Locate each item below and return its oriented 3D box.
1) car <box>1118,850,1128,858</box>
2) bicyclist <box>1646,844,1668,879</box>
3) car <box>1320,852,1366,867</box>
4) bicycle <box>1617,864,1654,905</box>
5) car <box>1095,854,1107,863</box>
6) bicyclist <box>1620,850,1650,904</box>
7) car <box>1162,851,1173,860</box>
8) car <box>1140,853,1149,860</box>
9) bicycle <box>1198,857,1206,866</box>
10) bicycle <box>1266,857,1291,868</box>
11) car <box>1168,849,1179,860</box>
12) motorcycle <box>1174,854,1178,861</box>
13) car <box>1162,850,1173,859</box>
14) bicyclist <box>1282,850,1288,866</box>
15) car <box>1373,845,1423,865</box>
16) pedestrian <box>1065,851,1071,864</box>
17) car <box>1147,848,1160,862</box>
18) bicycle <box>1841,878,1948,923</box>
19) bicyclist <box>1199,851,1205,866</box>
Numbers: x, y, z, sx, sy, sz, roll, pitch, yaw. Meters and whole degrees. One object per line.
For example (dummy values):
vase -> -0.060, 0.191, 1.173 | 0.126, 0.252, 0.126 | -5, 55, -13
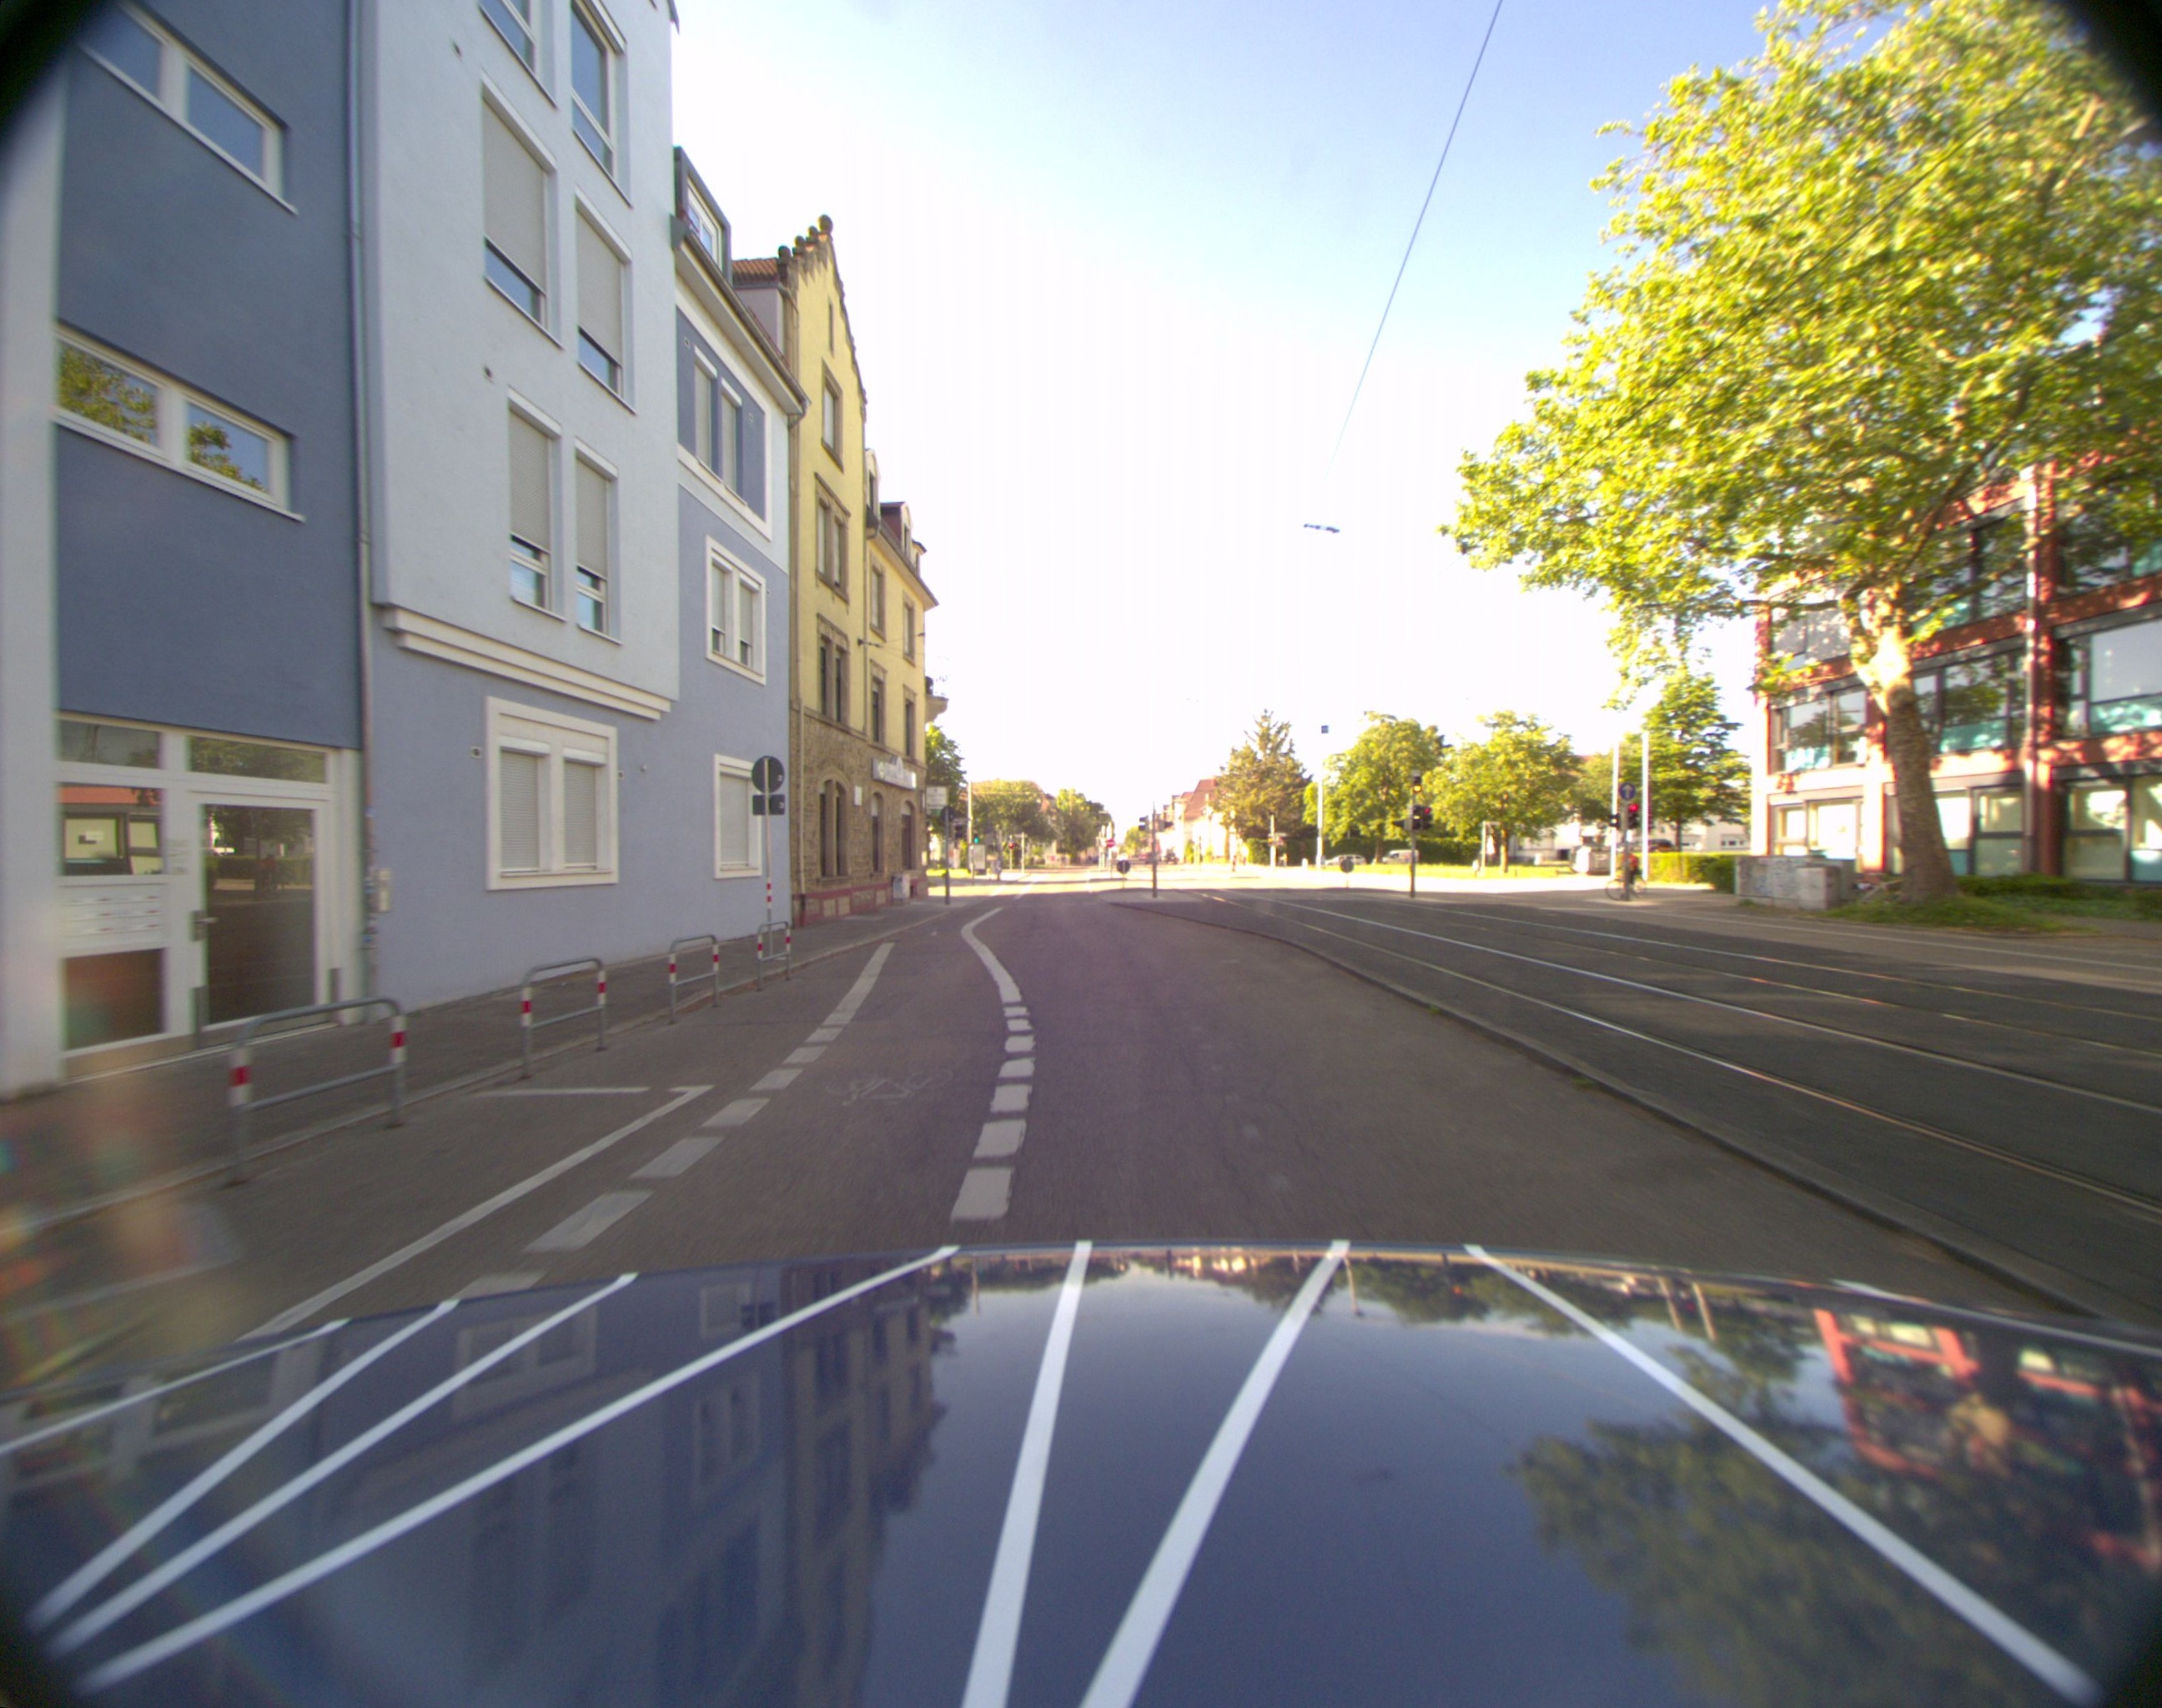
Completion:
car -> 9.488, 0.100, 169.993 | 1.923, 1.705, 4.002 | -2, 0, 6
bicyclist -> 27.291, 0.344, 36.024 | 0.645, 1.602, 0.782 | -2, 0, 27
car -> 25.708, 0.540, 74.671 | 3.994, 1.425, 1.818 | 0, 0, 9
bicycle -> 17.918, 0.958, 24.575 | 0.632, 1.123, 2.038 | -4, 1, 28
car -> 3.570, 0.748, 134.843 | 1.704, 1.541, 4.003 | -2, 0, 8
bicyclist -> 17.899, 0.738, 24.559 | 0.605, 1.682, 0.934 | -2, 0, 29
car -> 17.248, 0.360, 151.542 | 1.923, 1.705, 4.001 | -2, 0, 4
car -> 15.605, 0.636, 187.381 | 1.923, 1.705, 4.002 | -2, 0, 7
bicycle -> 13.660, 0.844, 86.004 | 0.588, 1.107, 1.827 | 1, 0, 1
bicycle -> 19.752, 0.812, 76.025 | 2.283, 1.111, 0.931 | 0, 1, 11
car -> 16.633, 0.107, 136.959 | 1.923, 1.890, 4.002 | -2, 0, 6
motorcycle -> 15.259, 0.594, 122.003 | 0.605, 1.040, 2.438 | -2, 0, 5
car -> 17.857, 0.155, 157.383 | 1.923, 1.705, 4.001 | -2, 0, 4
bicyclist -> 20.362, 0.418, 75.916 | 0.559, 1.613, 0.899 | 0, 1, 11
car -> 32.004, 0.075, 76.784 | 4.310, 1.856, 1.817 | -1, 1, 6
pedestrian -> -1.660, 0.407, 95.677 | 0.654, 1.664, 0.943 | 1, 1, 6
car -> 11.575, 0.163, 121.096 | 2.024, 2.001, 5.254 | 1, -1, 6
bicycle -> 18.042, 1.005, 16.888 | 0.522, 0.901, 1.541 | -1, 1, -20
bicyclist -> 13.657, 0.550, 85.908 | 0.588, 1.701, 0.901 | 1, 0, 1
